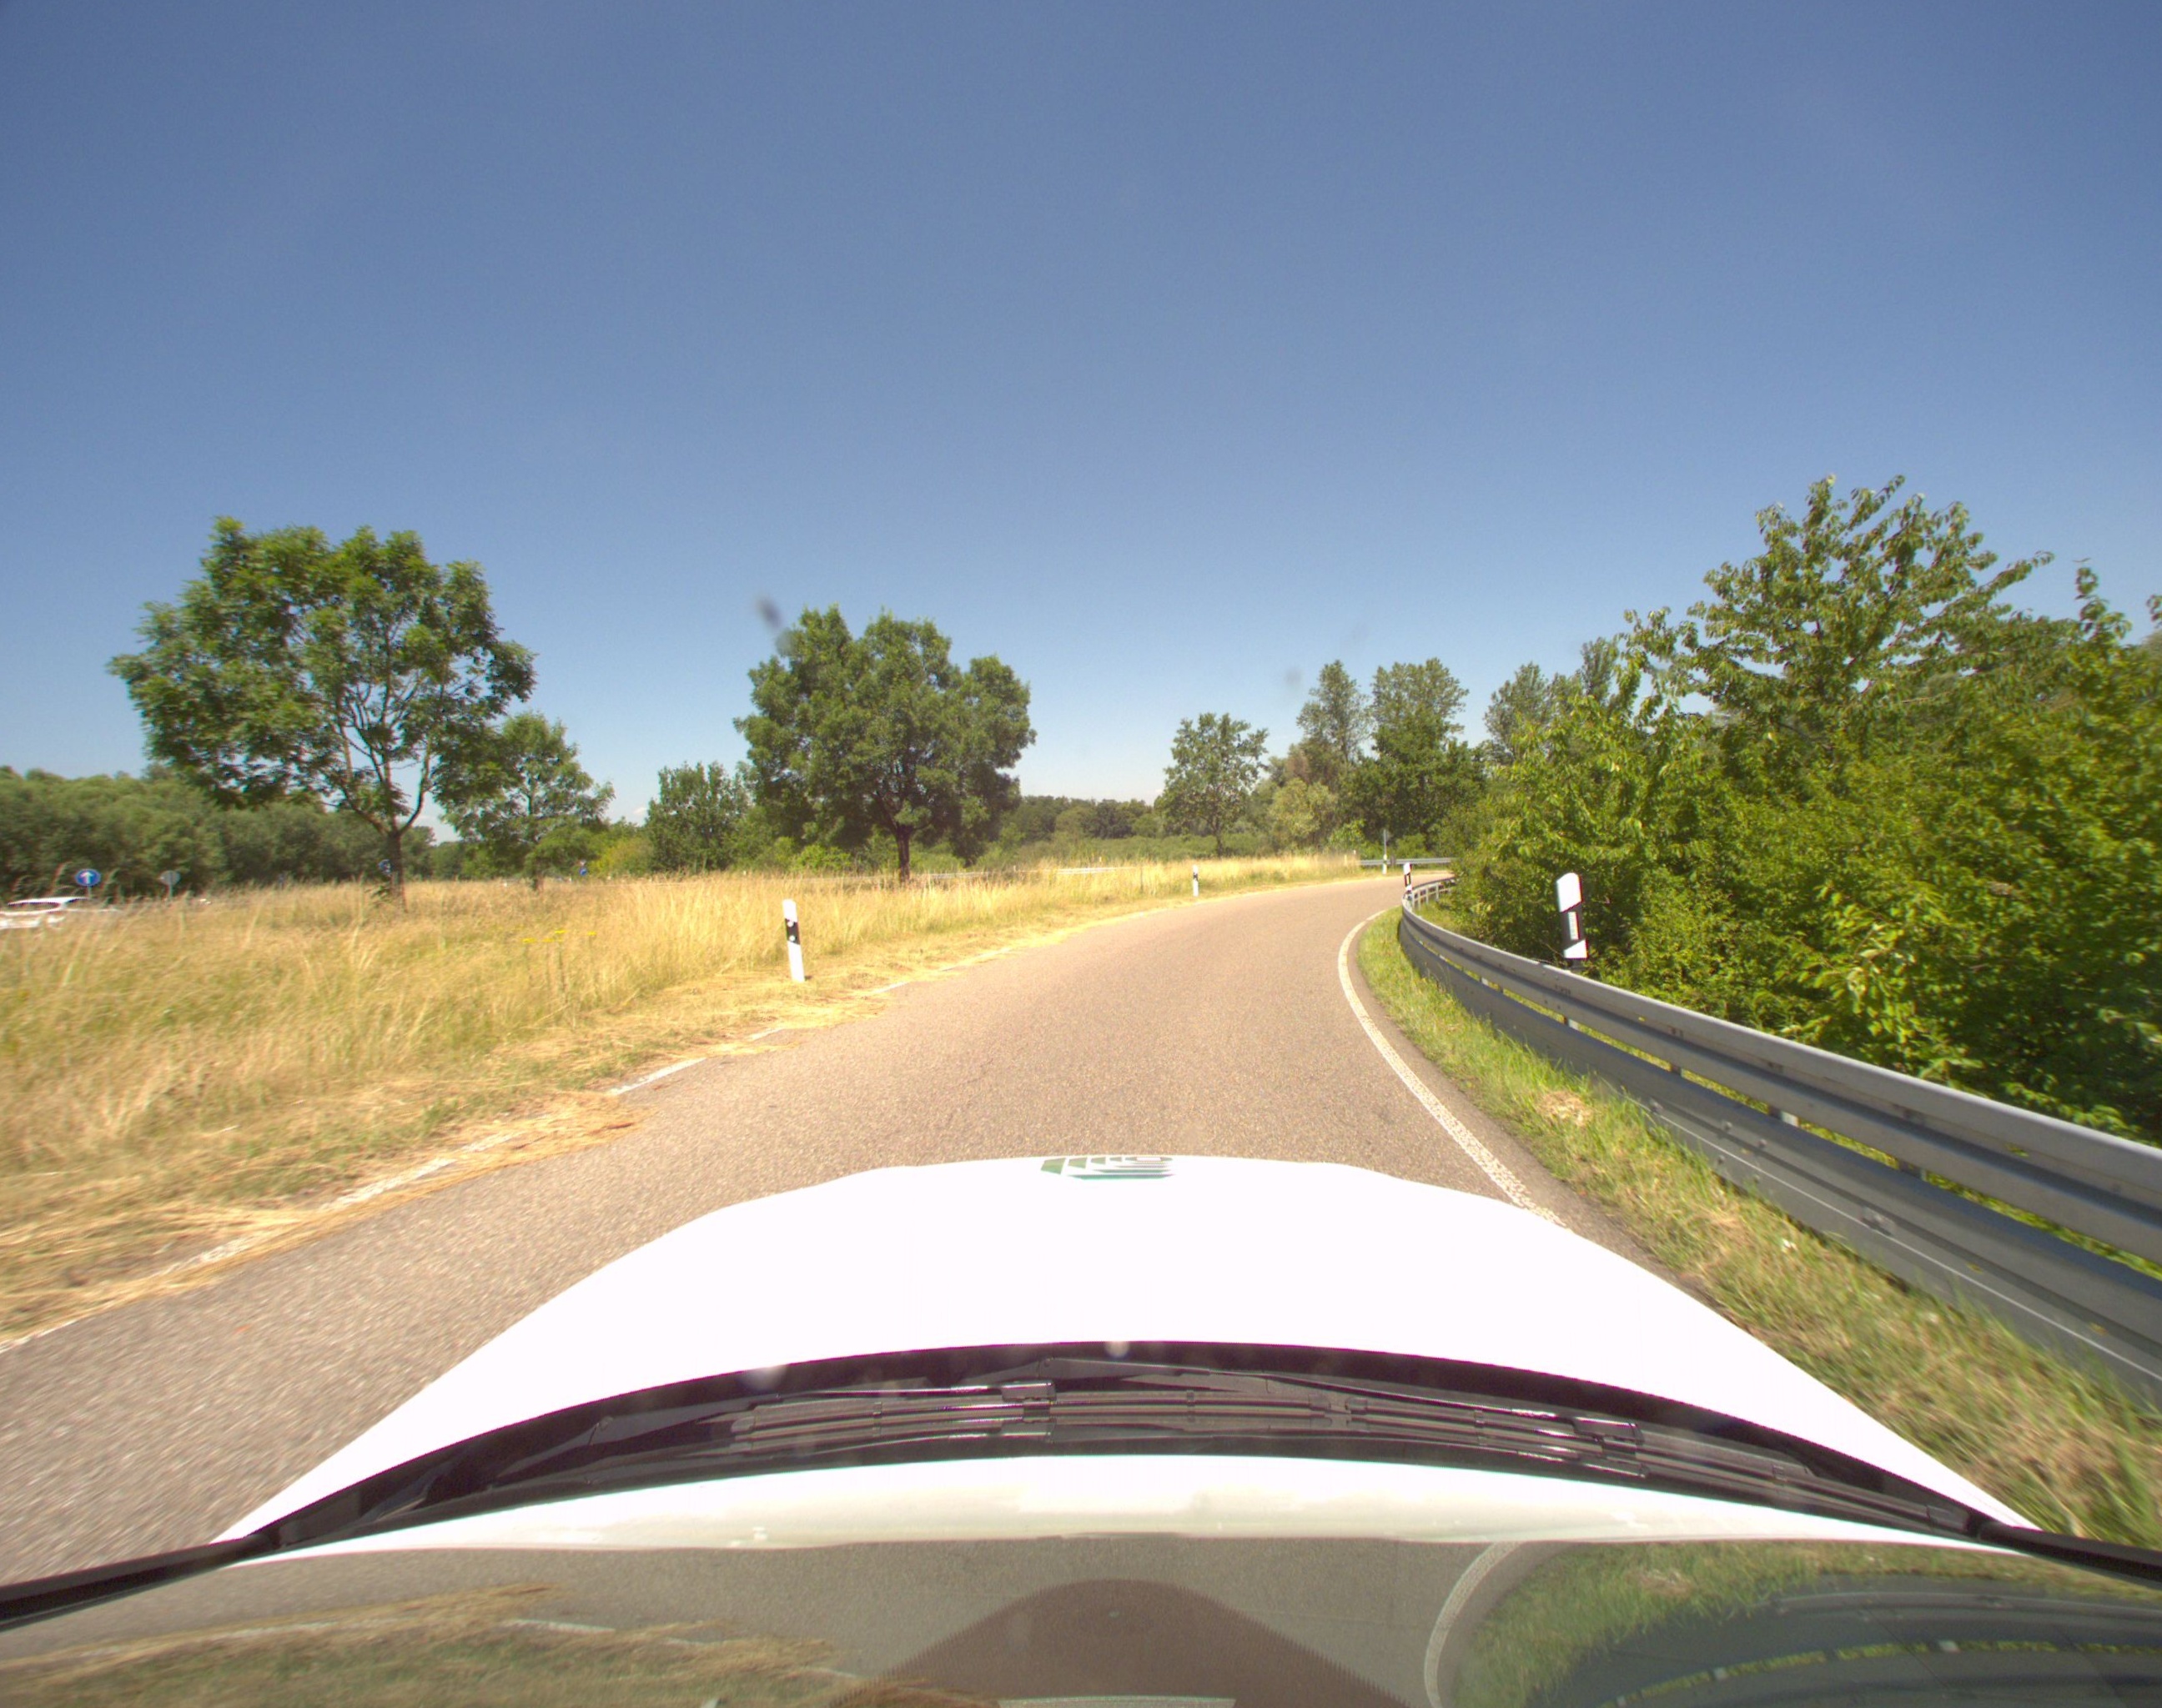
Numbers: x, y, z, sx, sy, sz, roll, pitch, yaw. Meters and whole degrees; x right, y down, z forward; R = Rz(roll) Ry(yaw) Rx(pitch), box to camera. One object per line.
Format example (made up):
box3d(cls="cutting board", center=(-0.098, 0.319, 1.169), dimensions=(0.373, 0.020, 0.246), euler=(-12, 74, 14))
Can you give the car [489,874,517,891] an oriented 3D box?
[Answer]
box3d(cls="car", center=(-62.608, 3.034, 88.249), dimensions=(2.048, 1.673, 3.962), euler=(-2, 0, -29))
